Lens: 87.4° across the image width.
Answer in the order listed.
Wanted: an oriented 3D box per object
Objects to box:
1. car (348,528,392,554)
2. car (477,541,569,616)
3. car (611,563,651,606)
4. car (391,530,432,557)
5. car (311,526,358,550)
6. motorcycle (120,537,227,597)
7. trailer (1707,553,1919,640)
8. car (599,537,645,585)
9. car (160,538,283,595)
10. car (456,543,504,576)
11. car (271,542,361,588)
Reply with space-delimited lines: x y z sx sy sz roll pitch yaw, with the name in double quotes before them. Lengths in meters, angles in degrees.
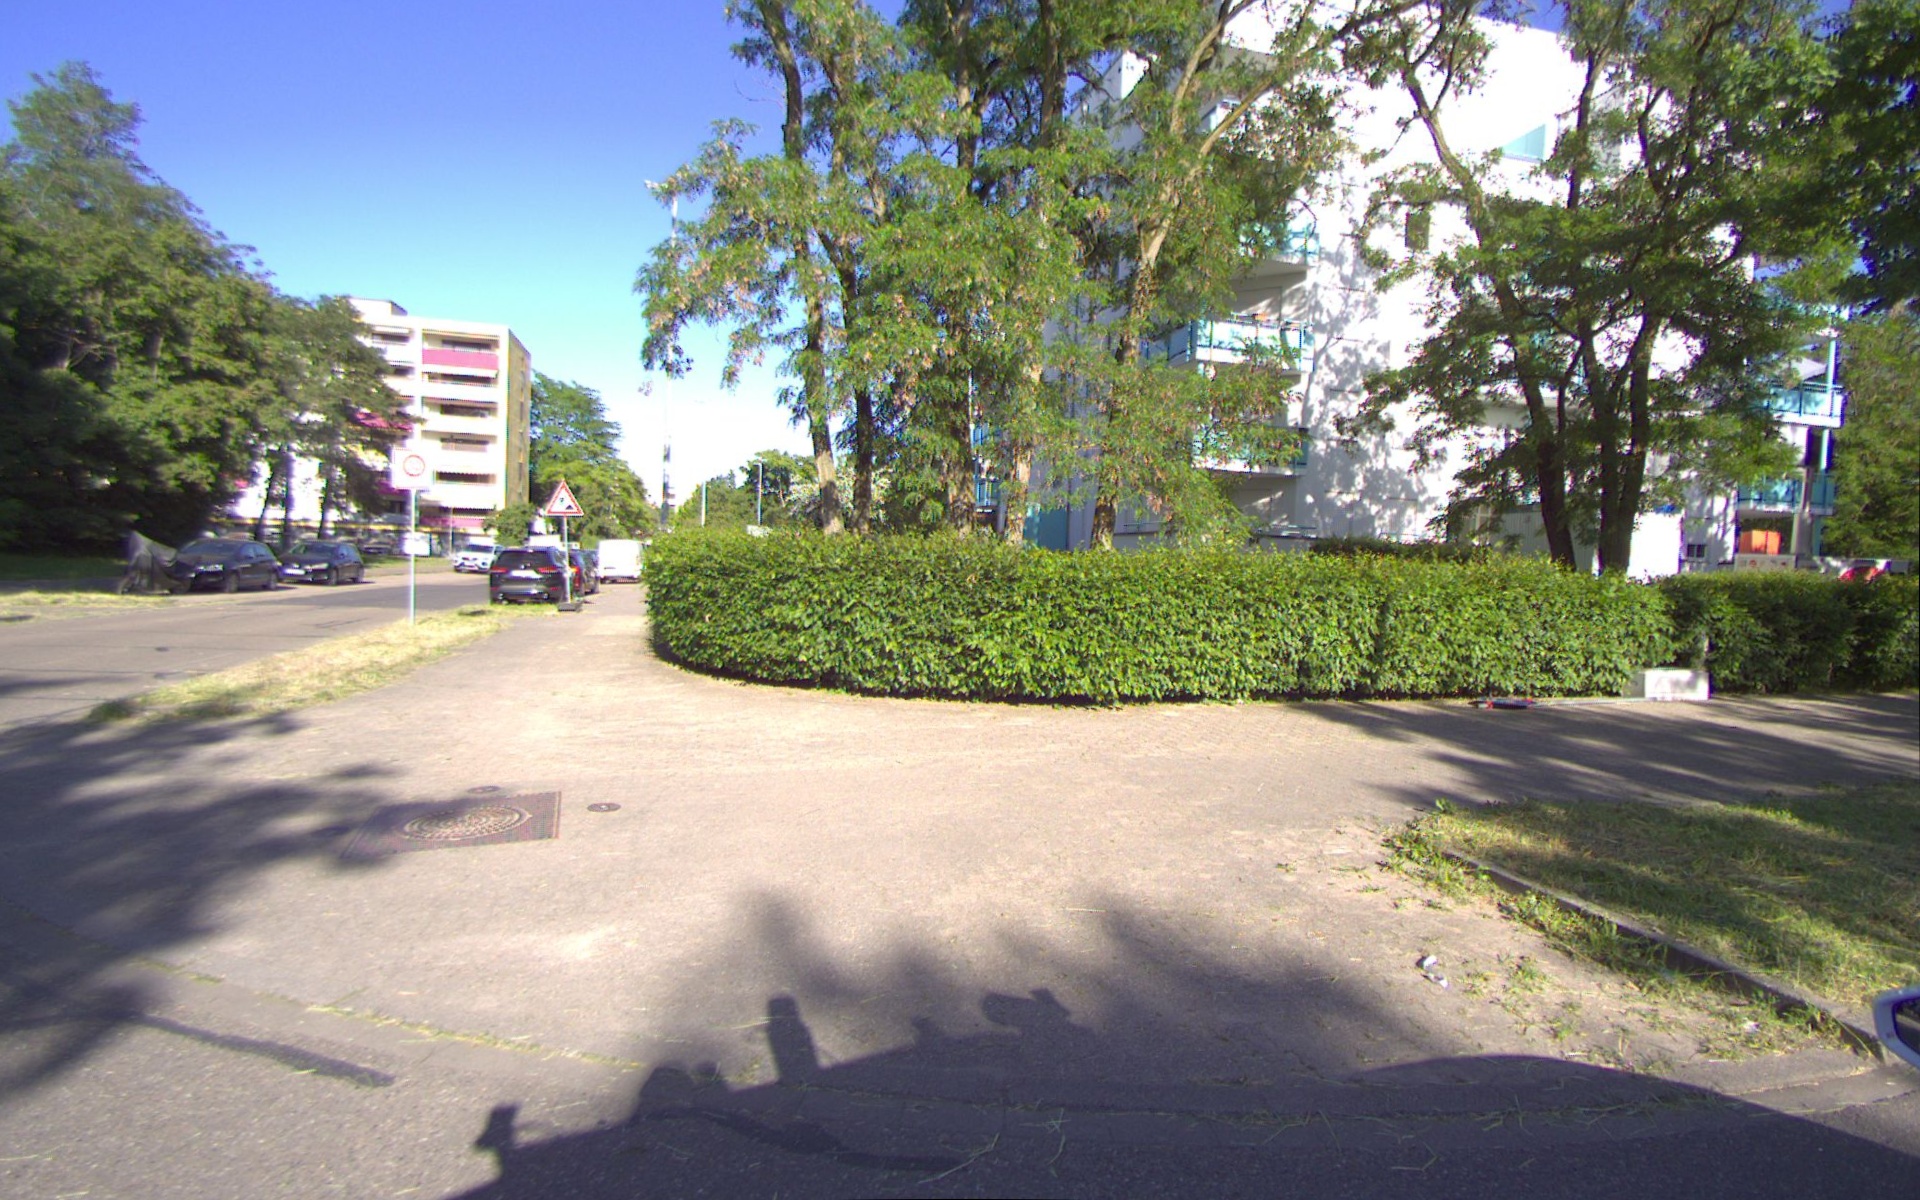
"car" -41.926 -4.192 71.444 1.734 1.767 3.822 2 3 -16
"car" -11.622 -0.628 26.944 1.728 1.809 3.822 2 3 -16
"car" -17.450 -0.874 53.396 1.798 2.088 3.823 1 3 -16
"car" -39.269 -4.051 72.036 1.734 1.767 3.822 2 3 -16
"car" -43.790 -4.343 70.449 1.770 1.548 3.822 2 3 -16
"motorcycle" -18.903 -0.775 24.168 0.666 1.362 1.950 4 3 43
"trailer" 22.136 -0.104 26.105 4.354 2.070 1.977 2 2 -14
"car" -15.851 -1.840 47.185 1.798 2.088 3.822 2 3 -16
"car" -20.176 -0.941 27.591 1.534 1.411 3.576 2 3 -16
"car" -25.242 -2.158 52.938 1.618 1.578 3.822 2 3 -16
"car" -21.628 -1.202 33.864 1.534 1.411 3.576 2 3 -16
